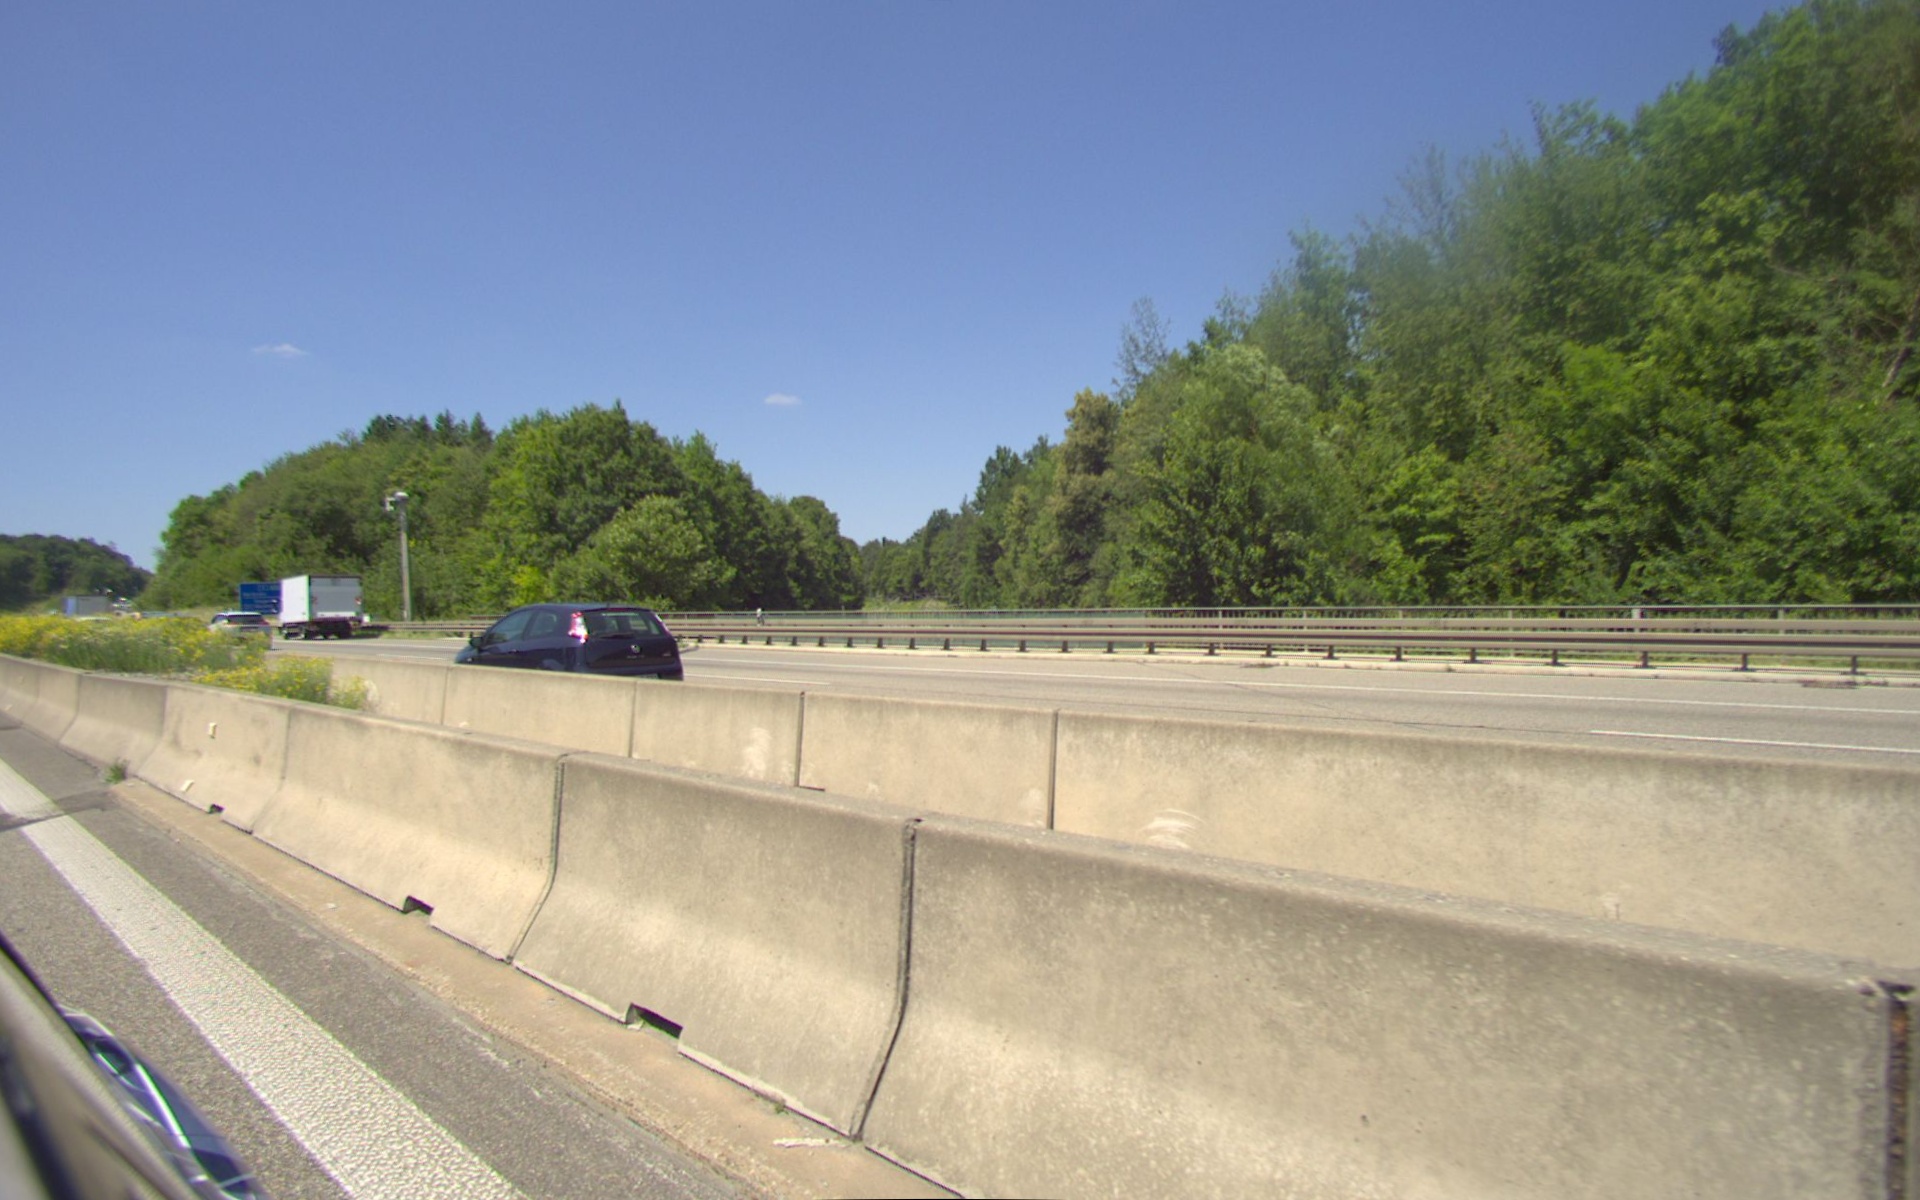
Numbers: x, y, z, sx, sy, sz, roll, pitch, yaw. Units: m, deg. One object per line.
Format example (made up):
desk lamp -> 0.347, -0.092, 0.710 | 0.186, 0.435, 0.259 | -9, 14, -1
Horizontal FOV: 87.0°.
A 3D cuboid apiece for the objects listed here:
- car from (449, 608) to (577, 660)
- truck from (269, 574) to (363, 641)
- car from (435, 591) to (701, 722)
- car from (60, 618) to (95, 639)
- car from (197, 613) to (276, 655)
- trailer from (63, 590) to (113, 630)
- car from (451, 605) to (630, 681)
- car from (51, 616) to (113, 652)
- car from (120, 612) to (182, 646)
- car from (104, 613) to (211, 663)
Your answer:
car -> -14.049, 1.028, 31.688 | 4.690, 1.492, 1.972 | -1, -1, 42
truck -> -36.211, 0.470, 56.771 | 7.315, 3.501, 2.705 | -2, -1, 43
car -> -5.174, 0.661, 13.119 | 3.856, 1.439, 1.648 | -2, -1, 42
car -> -71.266, 2.297, 81.711 | 4.156, 1.556, 1.767 | -2, -1, 43
car -> -28.754, 1.318, 40.203 | 4.000, 1.558, 1.822 | -1, -1, 43
trailer -> -90.191, 1.075, 104.564 | 10.169, 3.886, 2.751 | -2, -1, 43
car -> -8.888, 0.863, 21.281 | 4.232, 1.431, 1.823 | -2, -1, 42
car -> -37.957, 1.441, 43.730 | 4.036, 1.438, 1.614 | -1, -1, 43
car -> -43.442, 1.523, 54.297 | 4.530, 1.714, 1.972 | -1, 0, 43
car -> -24.387, 1.111, 30.696 | 4.609, 1.416, 1.713 | -1, -1, 41
